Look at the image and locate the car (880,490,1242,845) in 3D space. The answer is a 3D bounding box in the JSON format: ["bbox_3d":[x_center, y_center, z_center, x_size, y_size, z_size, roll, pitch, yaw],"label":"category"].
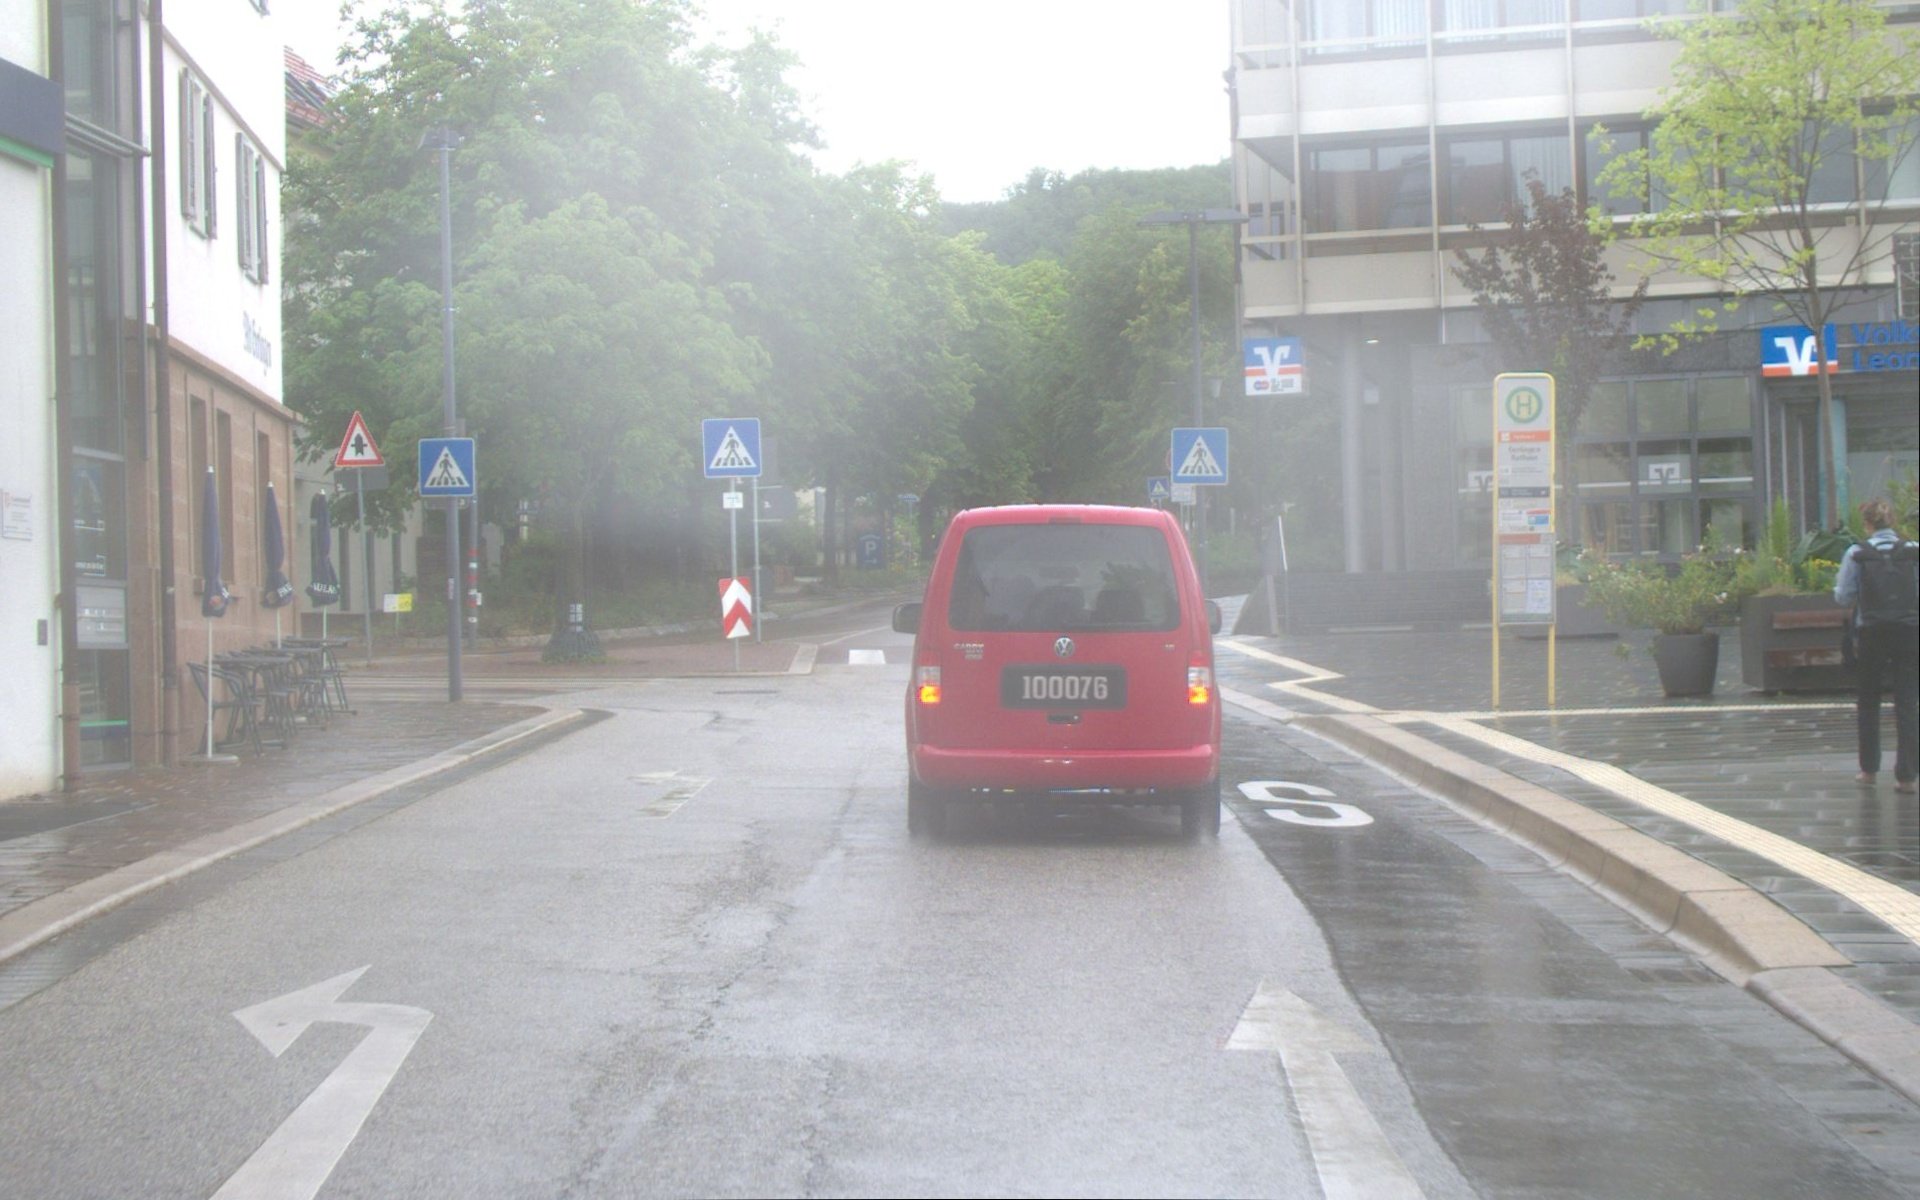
[{"bbox_3d":[0.494,0.354,20.223,1.862,1.824,4.185,-1,0,-1],"label":"car"}]

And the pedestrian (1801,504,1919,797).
[{"bbox_3d":[5.214,0.277,19.444,0.728,1.612,0.693,-2,0,5],"label":"pedestrian"}]
